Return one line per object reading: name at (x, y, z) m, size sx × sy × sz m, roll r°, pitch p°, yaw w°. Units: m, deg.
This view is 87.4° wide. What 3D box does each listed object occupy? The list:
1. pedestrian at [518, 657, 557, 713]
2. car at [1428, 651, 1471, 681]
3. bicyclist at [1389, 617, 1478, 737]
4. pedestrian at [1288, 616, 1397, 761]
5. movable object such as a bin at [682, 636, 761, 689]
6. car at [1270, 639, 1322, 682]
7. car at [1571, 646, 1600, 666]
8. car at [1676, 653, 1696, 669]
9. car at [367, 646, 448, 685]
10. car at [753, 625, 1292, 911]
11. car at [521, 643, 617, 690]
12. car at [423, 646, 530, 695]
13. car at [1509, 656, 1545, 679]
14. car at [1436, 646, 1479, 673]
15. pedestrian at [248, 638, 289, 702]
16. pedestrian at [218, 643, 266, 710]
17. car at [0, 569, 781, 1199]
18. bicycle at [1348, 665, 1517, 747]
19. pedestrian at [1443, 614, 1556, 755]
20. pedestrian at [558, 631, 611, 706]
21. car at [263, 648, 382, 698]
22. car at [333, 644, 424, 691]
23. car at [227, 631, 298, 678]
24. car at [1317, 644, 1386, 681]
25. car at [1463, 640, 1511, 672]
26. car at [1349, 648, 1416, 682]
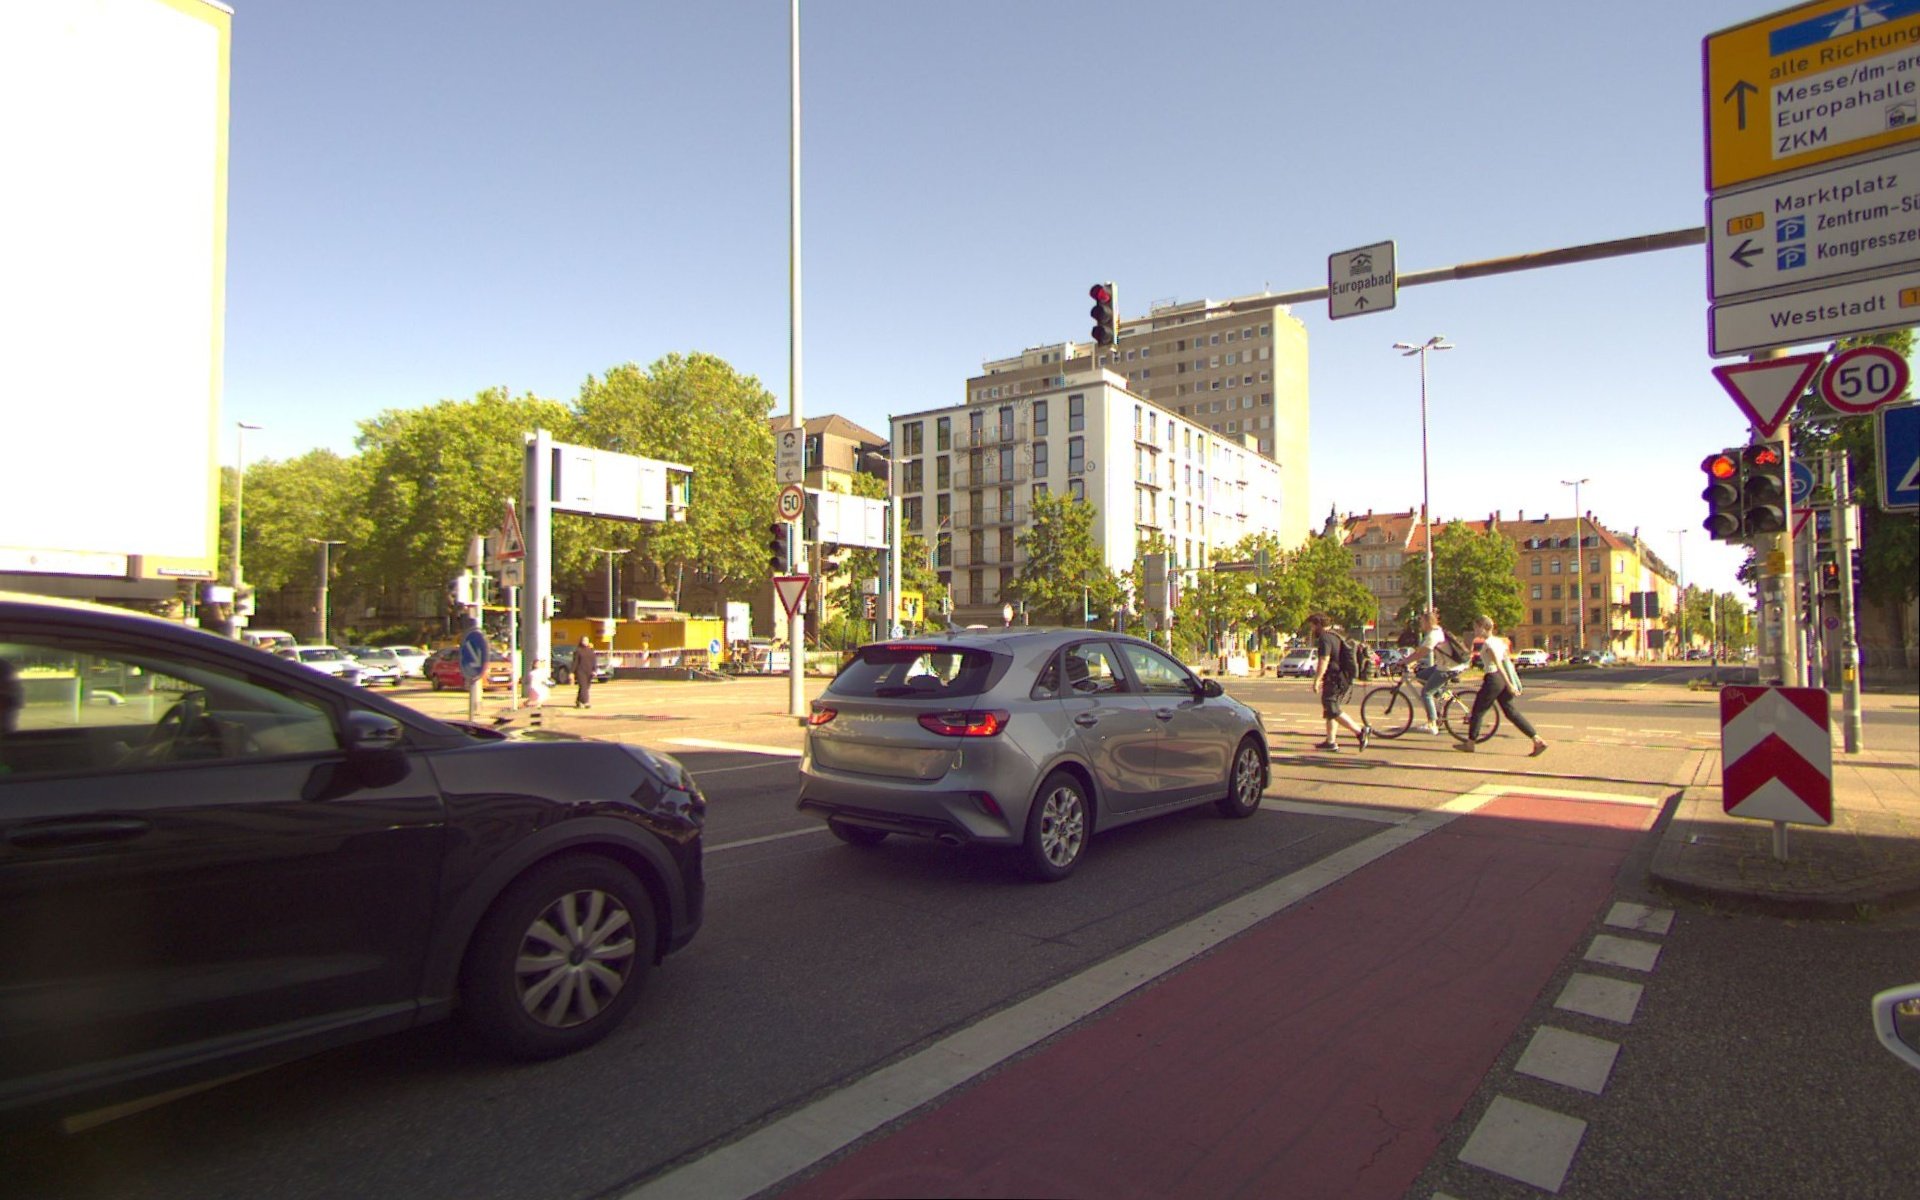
pedestrian at (-9.622, 1.929, 22.864) m, size 0.519 × 1.218 × 0.644 m, roll 2°, pitch 0°, yaw 44°
car at (30.377, 4.055, 62.259) m, size 1.538 × 1.639 × 3.983 m, roll 2°, pitch 0°, yaw 38°
bicyclist at (6.402, 1.012, 13.582) m, size 0.864 × 1.554 × 0.842 m, roll 2°, pitch -2°, yaw -43°
pedestrian at (4.627, 1.043, 12.196) m, size 0.965 × 1.665 × 0.797 m, roll 2°, pitch 0°, yaw -1°
movable object such as a bin at (-12.809, 3.301, 53.876) m, size 3.936 × 2.508 × 1.993 m, roll 2°, pitch 0°, yaw 37°
car at (17.837, 3.163, 53.191) m, size 1.963 × 2.040 × 3.994 m, roll 2°, pitch 0°, yaw 28°
car at (63.330, 5.622, 101.688) m, size 1.969 × 1.840 × 3.982 m, roll 2°, pitch 0°, yaw 39°
car at (86.742, 7.260, 119.978) m, size 1.825 × 1.728 × 3.985 m, roll -2°, pitch -3°, yaw 37°
car at (-26.338, 3.075, 47.830) m, size 3.935 × 1.539 × 1.878 m, roll 2°, pitch 0°, yaw 36°
car at (0.706, 0.903, 7.198) m, size 1.856 × 1.426 × 4.039 m, roll -1°, pitch -2°, yaw 39°
car at (-15.294, 2.542, 39.216) m, size 3.940 × 1.539 × 1.876 m, roll 2°, pitch 0°, yaw 41°
car at (-16.526, 2.352, 34.275) m, size 3.941 × 1.539 × 1.876 m, roll -2°, pitch -2°, yaw 40°
car at (50.402, 5.990, 89.267) m, size 1.890 × 1.838 × 4.688 m, roll 2°, pitch 0°, yaw 41°
car at (33.589, 3.975, 67.794) m, size 1.887 × 1.639 × 4.696 m, roll 2°, pitch 0°, yaw 35°
pedestrian at (-19.137, 1.913, 27.798) m, size 0.685 × 1.701 × 0.717 m, roll 2°, pitch 0°, yaw 35°
pedestrian at (-18.763, 1.986, 26.249) m, size 0.683 × 1.701 × 0.720 m, roll 2°, pitch 0°, yaw 7°
car at (-2.636, 0.707, 2.971) m, size 1.671 × 1.511 × 4.056 m, roll -1°, pitch -2°, yaw 39°
bicycle at (6.372, 1.397, 13.622) m, size 0.861 × 1.003 × 1.879 m, roll 2°, pitch -3°, yaw -43°
pedestrian at (6.539, 1.000, 12.221) m, size 0.912 × 1.629 × 0.787 m, roll 2°, pitch 0°, yaw -1°
pedestrian at (-8.660, 1.559, 23.142) m, size 0.711 × 1.644 × 0.893 m, roll 2°, pitch 0°, yaw 44°
car at (-21.413, 2.446, 33.678) m, size 4.477 × 1.538 × 1.878 m, roll -4°, pitch -3°, yaw 36°
car at (-22.846, 2.593, 39.416) m, size 3.940 × 1.539 × 1.876 m, roll 2°, pitch 0°, yaw 41°
car at (-38.944, 3.035, 56.063) m, size 4.378 × 2.545 × 1.878 m, roll -2°, pitch -3°, yaw 35°
car at (19.473, 3.059, 49.927) m, size 1.891 × 1.639 × 3.979 m, roll 2°, pitch 0°, yaw 42°
car at (40.460, 4.229, 77.041) m, size 1.891 × 2.260 × 5.870 m, roll 2°, pitch 0°, yaw 41°
car at (23.084, 3.486, 54.772) m, size 1.891 × 1.639 × 4.686 m, roll 2°, pitch 0°, yaw 42°
